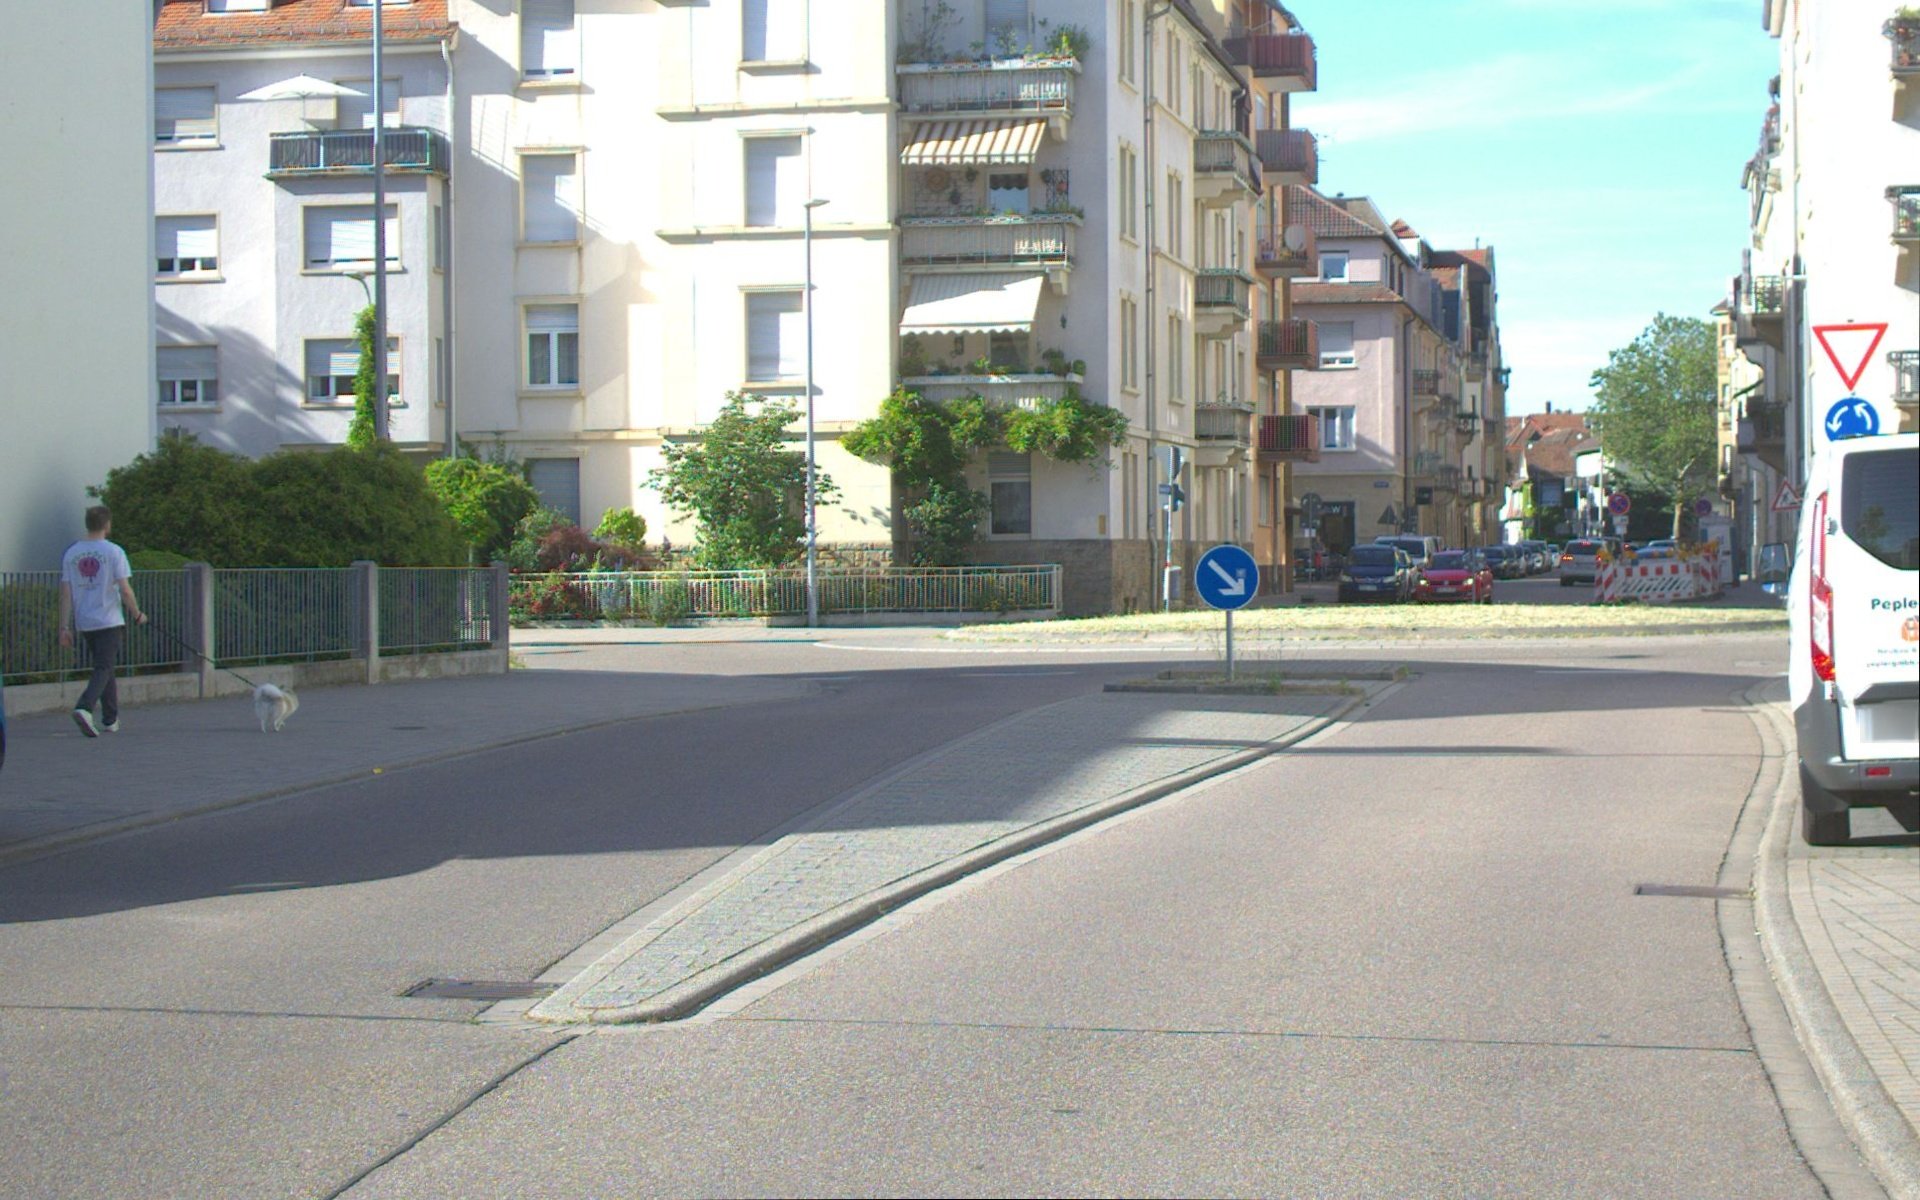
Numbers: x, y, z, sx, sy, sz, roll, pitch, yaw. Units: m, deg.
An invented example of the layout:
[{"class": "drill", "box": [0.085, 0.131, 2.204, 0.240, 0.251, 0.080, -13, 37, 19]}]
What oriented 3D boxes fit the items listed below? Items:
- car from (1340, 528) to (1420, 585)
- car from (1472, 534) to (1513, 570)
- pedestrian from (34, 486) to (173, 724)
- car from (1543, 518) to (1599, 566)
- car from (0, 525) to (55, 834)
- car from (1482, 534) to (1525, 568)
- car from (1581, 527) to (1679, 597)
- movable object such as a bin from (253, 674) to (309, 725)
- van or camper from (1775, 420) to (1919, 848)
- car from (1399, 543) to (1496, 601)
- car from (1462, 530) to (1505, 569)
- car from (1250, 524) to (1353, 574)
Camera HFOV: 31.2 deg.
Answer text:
[{"class": "car", "box": [11.621, -1.223, 94.923, 1.994, 1.527, 3.998, 0, 1, 10]}, {"class": "car", "box": [24.761, -2.239, 159.809, 1.635, 1.650, 3.669, 0, 1, 12]}, {"class": "pedestrian", "box": [-6.240, 0.047, 25.078, 0.683, 1.698, 0.823, -1, -2, 13]}, {"class": "car", "box": [22.593, -2.146, 127.036, 1.994, 1.733, 3.998, 0, 1, 11]}, {"class": "car", "box": [-5.581, 0.394, 14.977, 1.798, 1.468, 4.330, 1, 1, 5]}, {"class": "car", "box": [26.383, -2.382, 166.808, 1.994, 1.623, 3.999, 0, 1, 10]}, {"class": "car", "box": [18.092, -1.042, 92.635, 2.433, 1.805, 4.721, 0, 1, 13]}, {"class": "movable object such as a bin", "box": [-5.083, 0.743, 25.751, 0.220, 0.347, 0.520, 1, 1, 13]}, {"class": "van or camper", "box": [5.330, 0.084, 17.880, 2.022, 1.940, 4.700, -2, 1, 14]}, {"class": "car", "box": [12.598, -0.703, 88.685, 1.742, 1.349, 3.666, -1, -2, 20]}, {"class": "car", "box": [22.717, -2.202, 149.090, 1.635, 1.650, 3.669, 0, 1, 12]}, {"class": "car", "box": [14.084, -2.096, 141.892, 3.904, 2.007, 1.762, 0, 1, 19]}]
